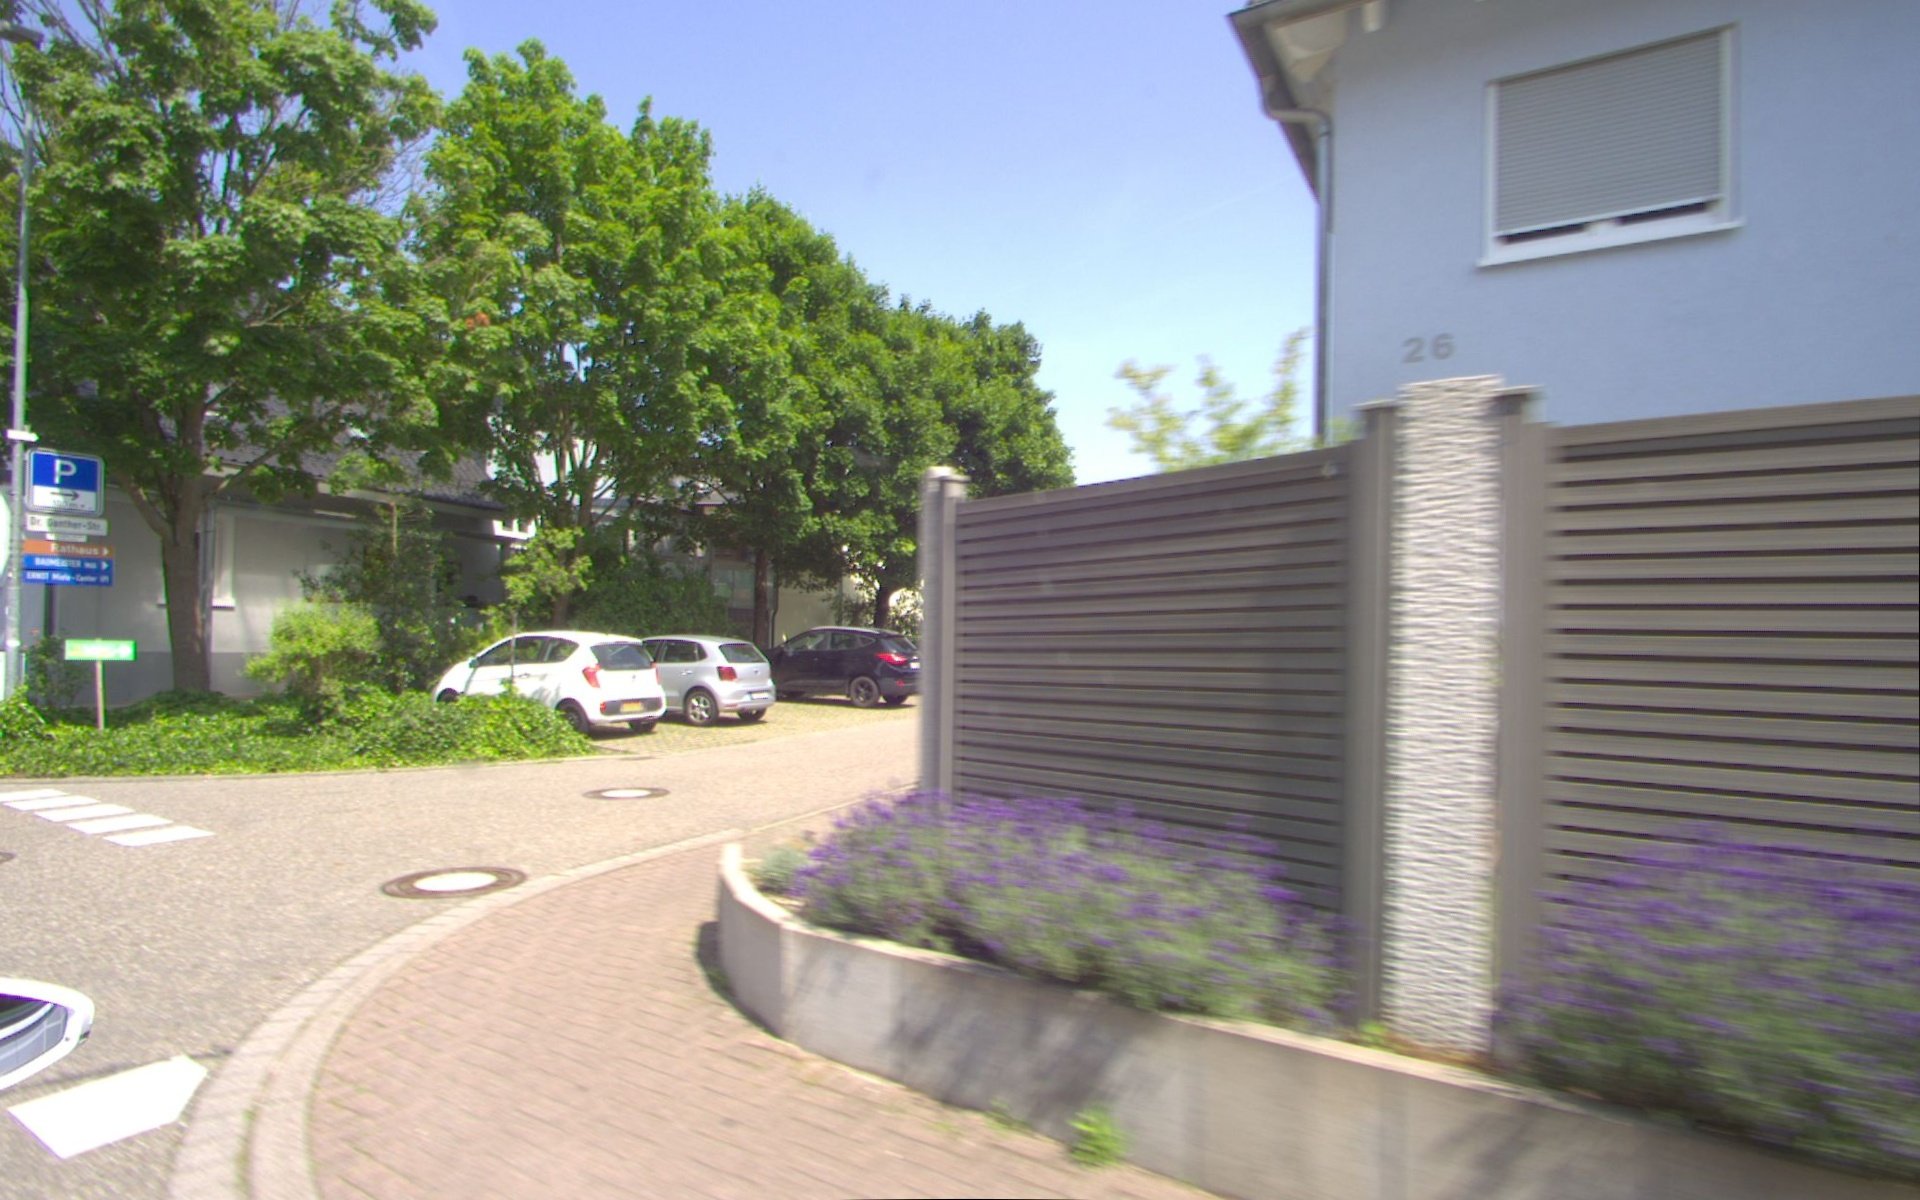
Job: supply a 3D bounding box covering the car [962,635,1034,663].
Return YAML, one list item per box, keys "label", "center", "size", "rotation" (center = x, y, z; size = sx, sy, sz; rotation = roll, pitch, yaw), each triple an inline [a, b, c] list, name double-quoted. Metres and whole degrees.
- label: "car"
  center: [2.397, 3.047, 62.675]
  size: [4.151, 1.629, 1.811]
  rotation: [0, -2, 19]

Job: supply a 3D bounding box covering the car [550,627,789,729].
- label: "car"
  center: [-5.045, 1.288, 17.395]
  size: [3.798, 1.492, 1.593]
  rotation: [2, -1, 23]

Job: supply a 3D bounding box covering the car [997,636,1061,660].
- label: "car"
  center: [4.818, 3.352, 69.911]
  size: [4.151, 1.629, 1.811]
  rotation: [0, -2, 19]

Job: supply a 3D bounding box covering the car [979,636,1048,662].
- label: "car"
  center: [3.525, 3.172, 65.621]
  size: [4.151, 1.629, 1.811]
  rotation: [0, -2, 19]

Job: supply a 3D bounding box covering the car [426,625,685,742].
- label: "car"
  center: [-6.065, 1.173, 15.020]
  size: [3.507, 1.463, 1.593]
  rotation: [2, -1, 24]

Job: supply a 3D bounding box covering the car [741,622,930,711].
- label: "car"
  center: [-2.735, 1.413, 22.090]
  size: [3.796, 1.705, 1.594]
  rotation: [2, -1, 20]
